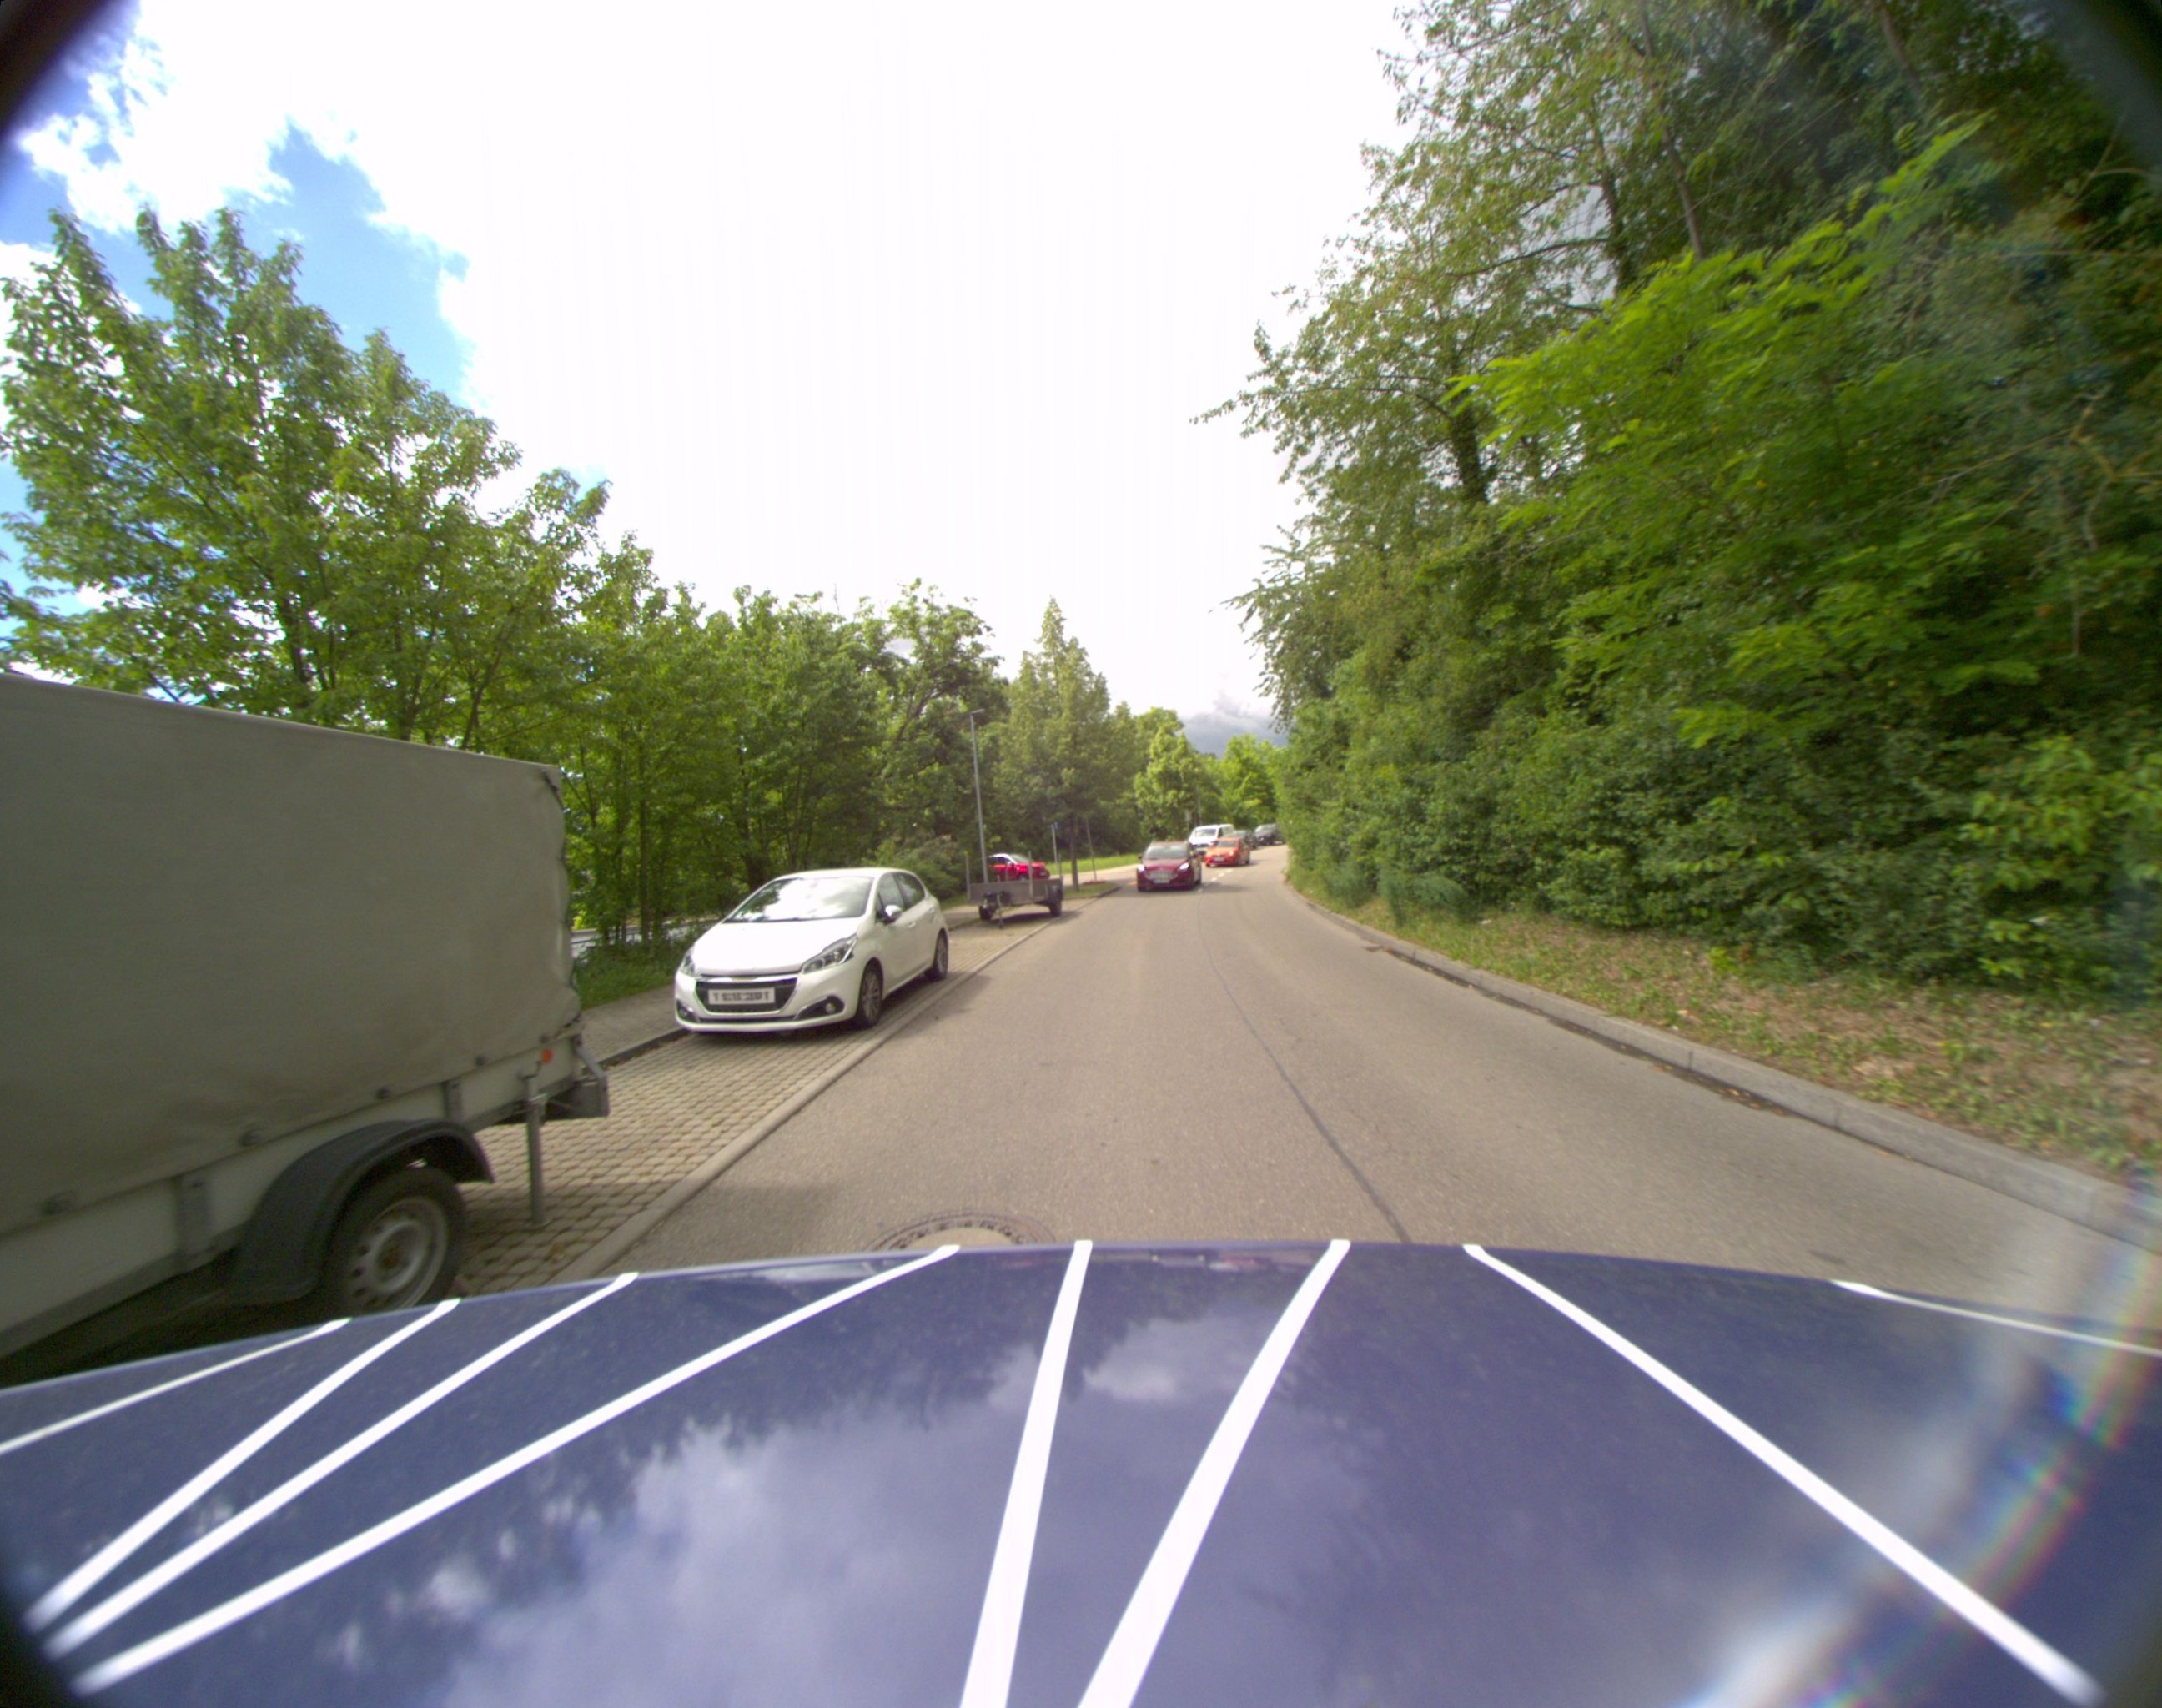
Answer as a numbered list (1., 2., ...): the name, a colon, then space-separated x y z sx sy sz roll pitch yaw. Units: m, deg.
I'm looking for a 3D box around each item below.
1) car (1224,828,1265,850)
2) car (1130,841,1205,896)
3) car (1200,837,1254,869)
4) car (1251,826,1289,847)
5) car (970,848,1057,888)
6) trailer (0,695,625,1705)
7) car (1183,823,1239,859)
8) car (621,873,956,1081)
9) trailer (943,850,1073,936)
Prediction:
1. car: 11.897 -1.102 55.080 1.792 1.405 4.111 -2 2 29
2. car: 3.112 0.443 26.551 1.910 1.689 4.391 -2 1 15
3. car: 7.746 -0.085 39.932 1.793 1.405 4.118 -1 3 25
4. car: 14.838 -1.394 59.496 1.792 1.405 4.111 -2 2 29
5. car: -3.084 0.623 34.475 3.479 1.509 1.654 -4 2 28
6. trailer: -3.109 0.736 1.729 1.734 2.066 3.783 -3 1 0
7. car: 8.466 -0.874 49.028 1.867 2.047 5.435 -2 2 28
8. car: -2.659 1.042 7.953 1.709 1.468 3.784 -3 1 5
9. trailer: -1.487 0.782 17.342 1.813 1.570 4.492 -3 1 9
